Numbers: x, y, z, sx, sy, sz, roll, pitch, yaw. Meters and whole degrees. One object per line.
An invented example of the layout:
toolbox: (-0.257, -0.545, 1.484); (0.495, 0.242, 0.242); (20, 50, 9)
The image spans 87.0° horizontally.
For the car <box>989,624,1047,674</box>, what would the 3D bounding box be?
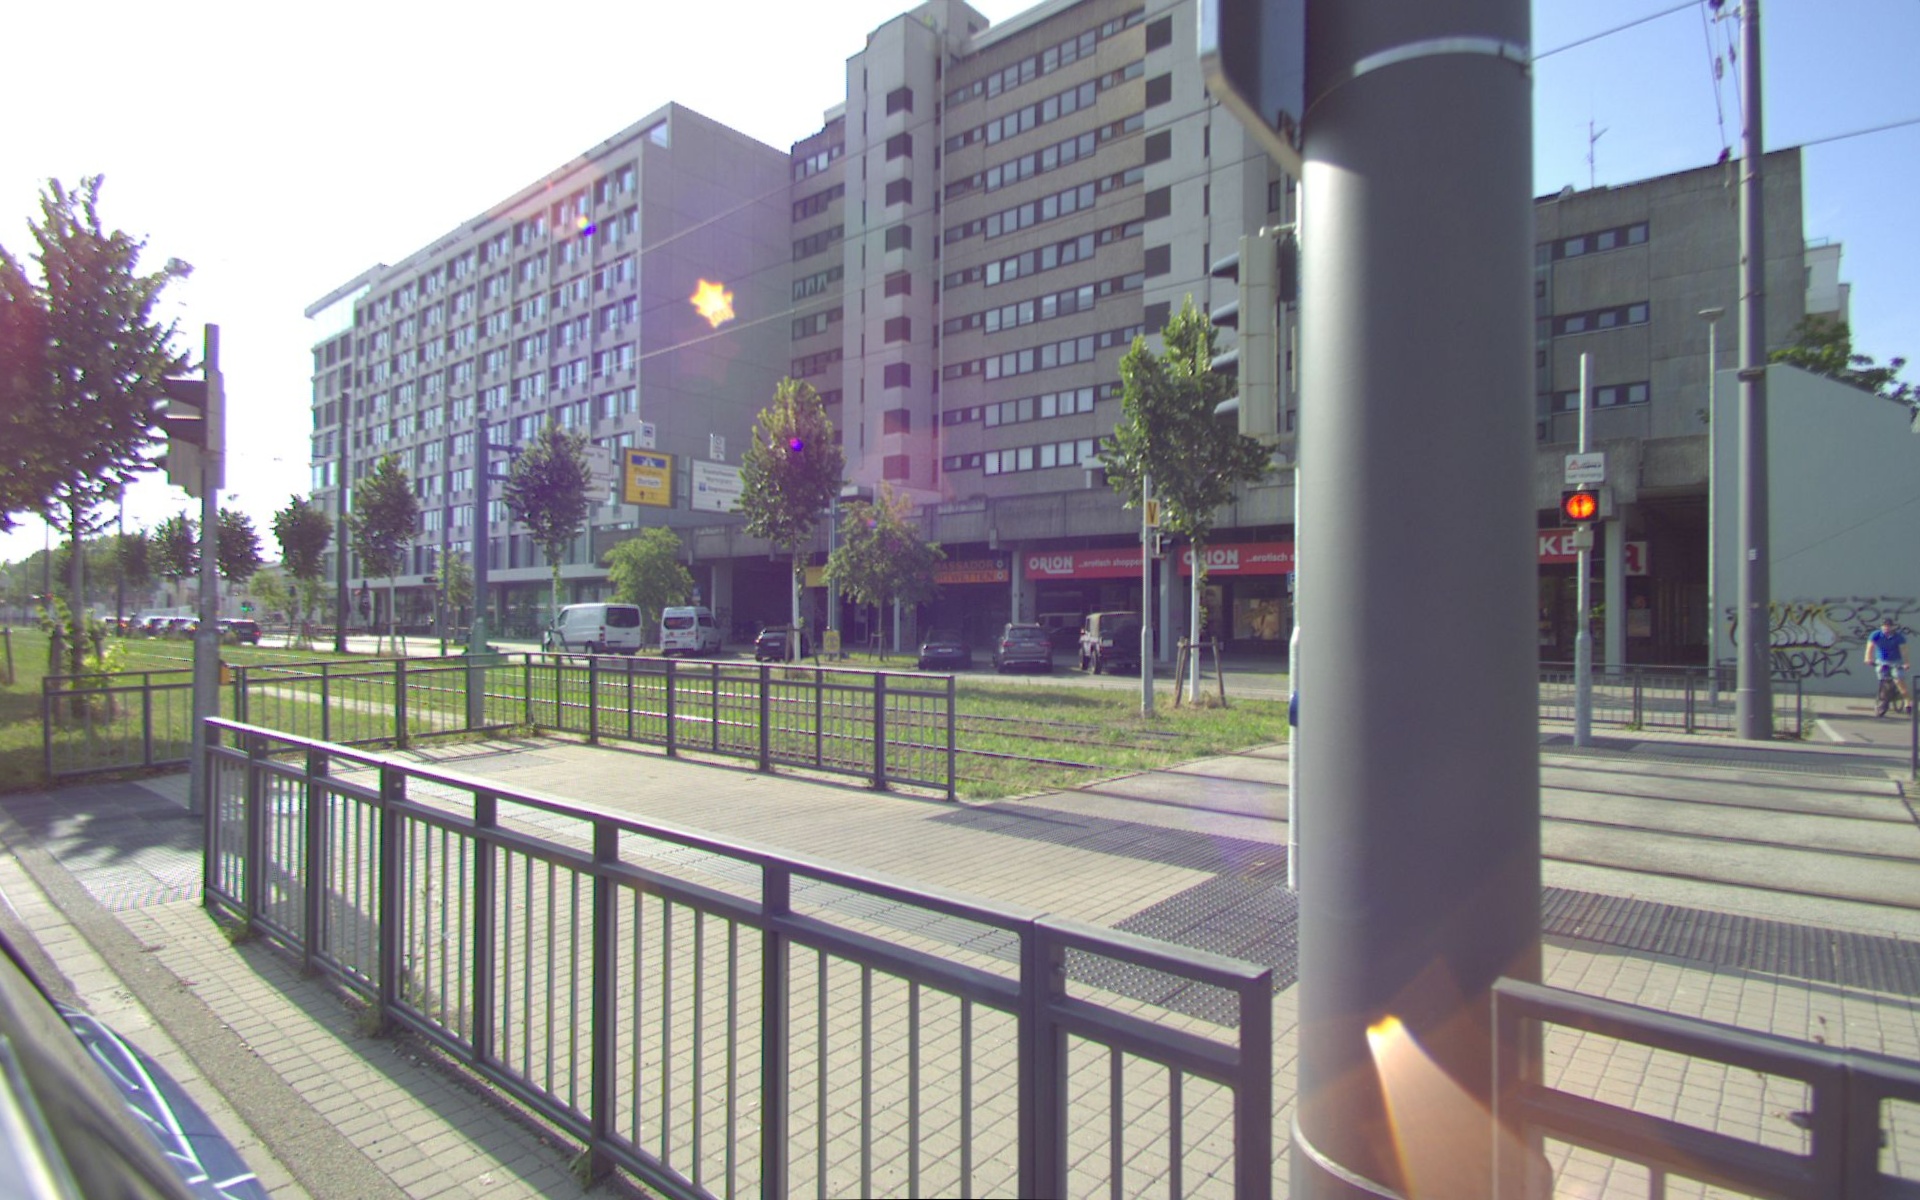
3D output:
car: (1.963, 1.658, 35.455); (1.854, 1.618, 4.110); (0, -1, 1)

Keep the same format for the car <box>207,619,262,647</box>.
car: (-41.117, 1.842, 57.304); (4.000, 1.492, 1.787); (-1, -2, 43)

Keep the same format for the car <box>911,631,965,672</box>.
car: (-0.759, 1.886, 37.773); (1.854, 1.253, 4.110); (-1, 0, 1)

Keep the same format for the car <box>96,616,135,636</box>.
car: (-67.413, 2.044, 80.747); (3.998, 1.536, 1.764); (-1, -2, 41)

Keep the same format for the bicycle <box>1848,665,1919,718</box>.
bicycle: (18.895, 1.834, 20.391); (1.639, 0.998, 0.687); (0, -2, -15)

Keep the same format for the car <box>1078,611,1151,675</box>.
car: (5.098, 1.386, 33.820); (1.854, 1.983, 4.110); (0, -1, 1)

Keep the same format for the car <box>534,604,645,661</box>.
car: (-15.771, 1.346, 42.960); (5.330, 2.256, 2.025); (-1, -2, 40)

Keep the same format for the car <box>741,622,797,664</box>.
car: (-8.262, 1.845, 44.068); (2.070, 1.594, 4.005); (-2, 0, -6)

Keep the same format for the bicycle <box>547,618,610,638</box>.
bicycle: (-26.626, 1.927, 70.704); (3.937, 1.377, 1.128); (1, -2, -40)

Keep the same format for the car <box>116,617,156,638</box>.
car: (-61.091, 2.025, 75.011); (4.000, 1.486, 1.787); (-1, -2, 43)

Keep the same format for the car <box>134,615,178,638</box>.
car: (-55.759, 1.837, 70.161); (4.000, 1.586, 1.787); (-1, -2, 43)

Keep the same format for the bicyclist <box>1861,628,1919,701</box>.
bicyclist: (18.959, 1.288, 20.437); (1.007, 1.451, 0.687); (0, -2, -16)

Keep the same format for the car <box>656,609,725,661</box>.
car: (-12.868, 1.646, 48.643); (1.859, 2.326, 5.407); (0, -1, 0)

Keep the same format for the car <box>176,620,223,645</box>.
car: (-46.842, 1.955, 62.340); (3.641, 1.498, 1.722); (-1, -2, 43)
